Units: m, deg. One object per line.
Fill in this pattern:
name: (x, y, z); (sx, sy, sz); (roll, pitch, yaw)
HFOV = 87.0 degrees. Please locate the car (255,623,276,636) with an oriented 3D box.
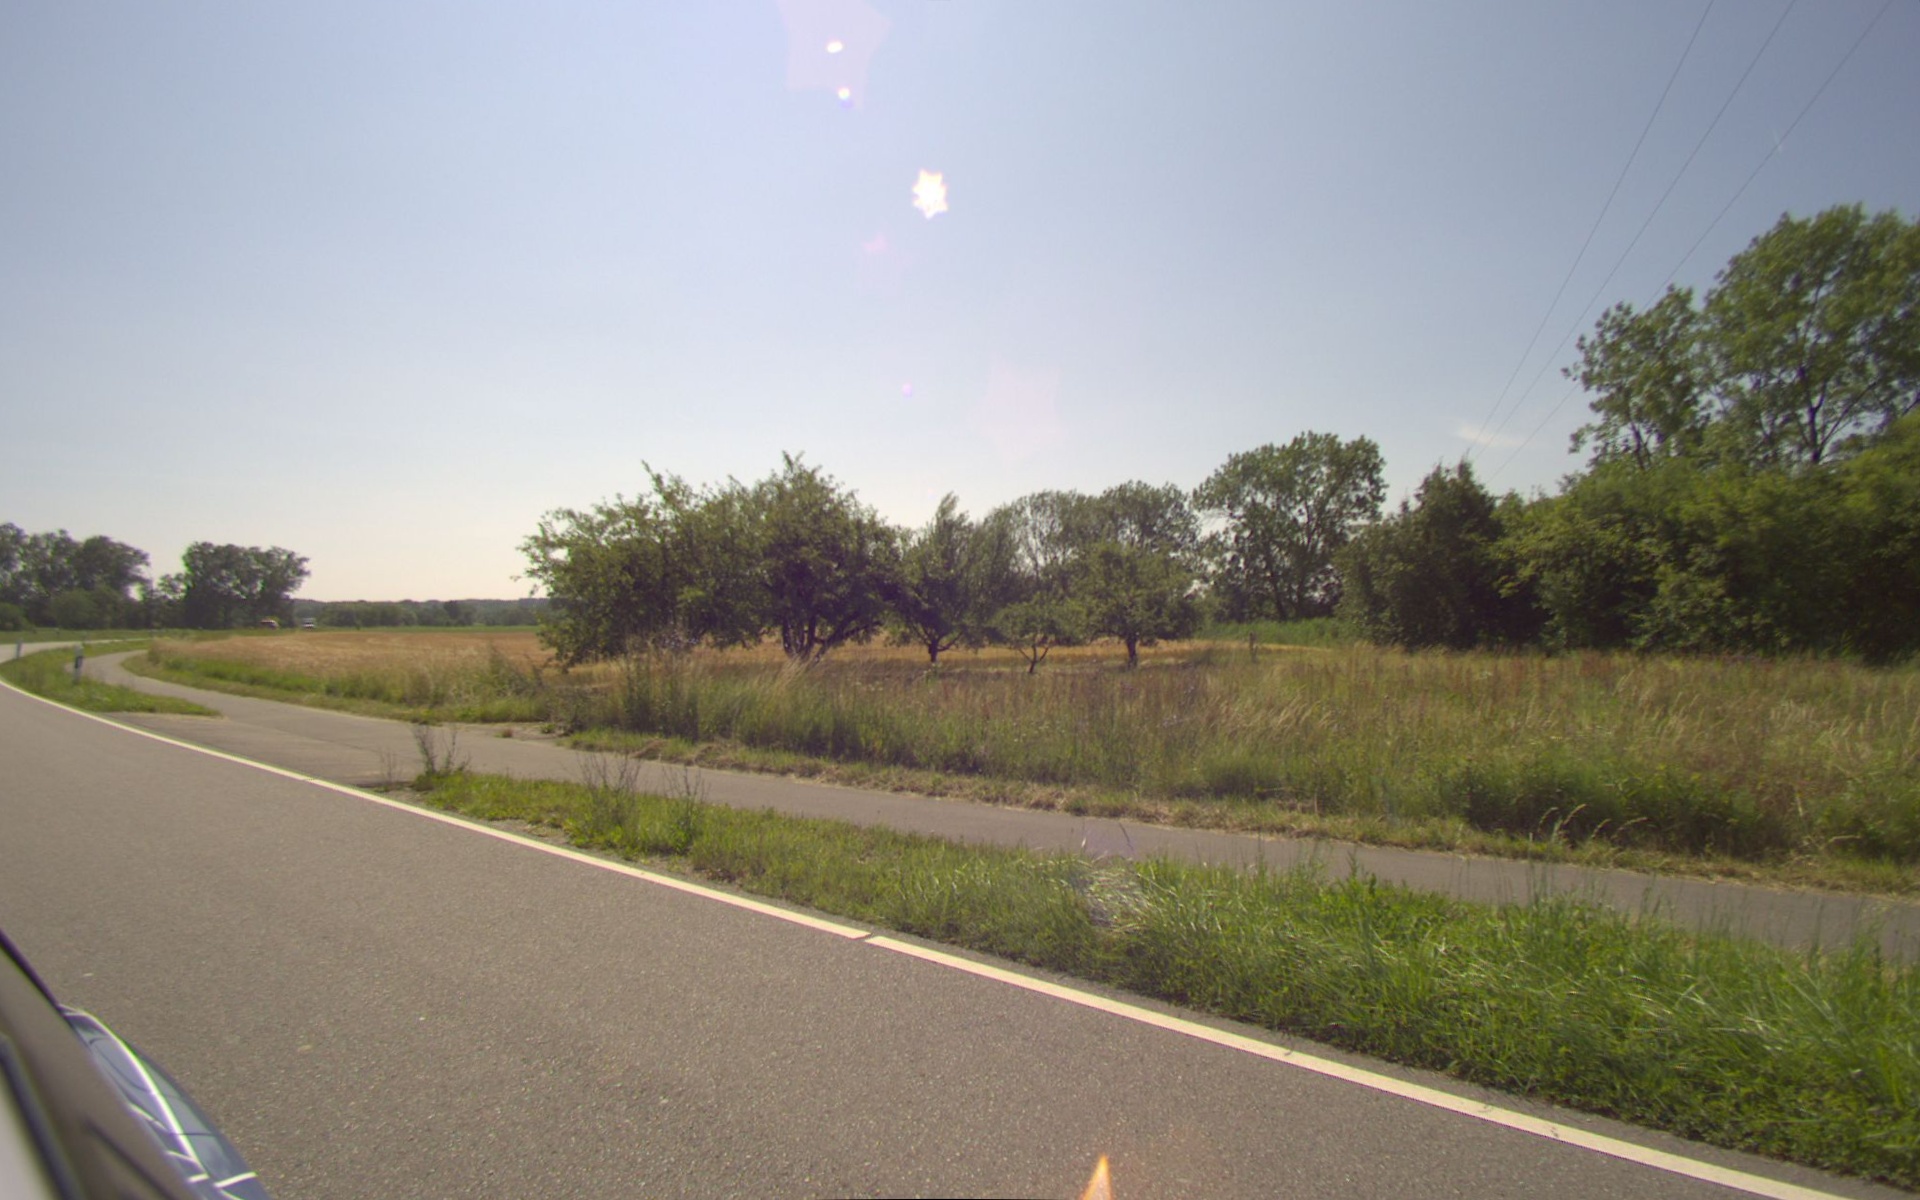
car: (-94.488, 4.080, 137.705); (1.860, 1.728, 4.026); (2, -3, -27)
